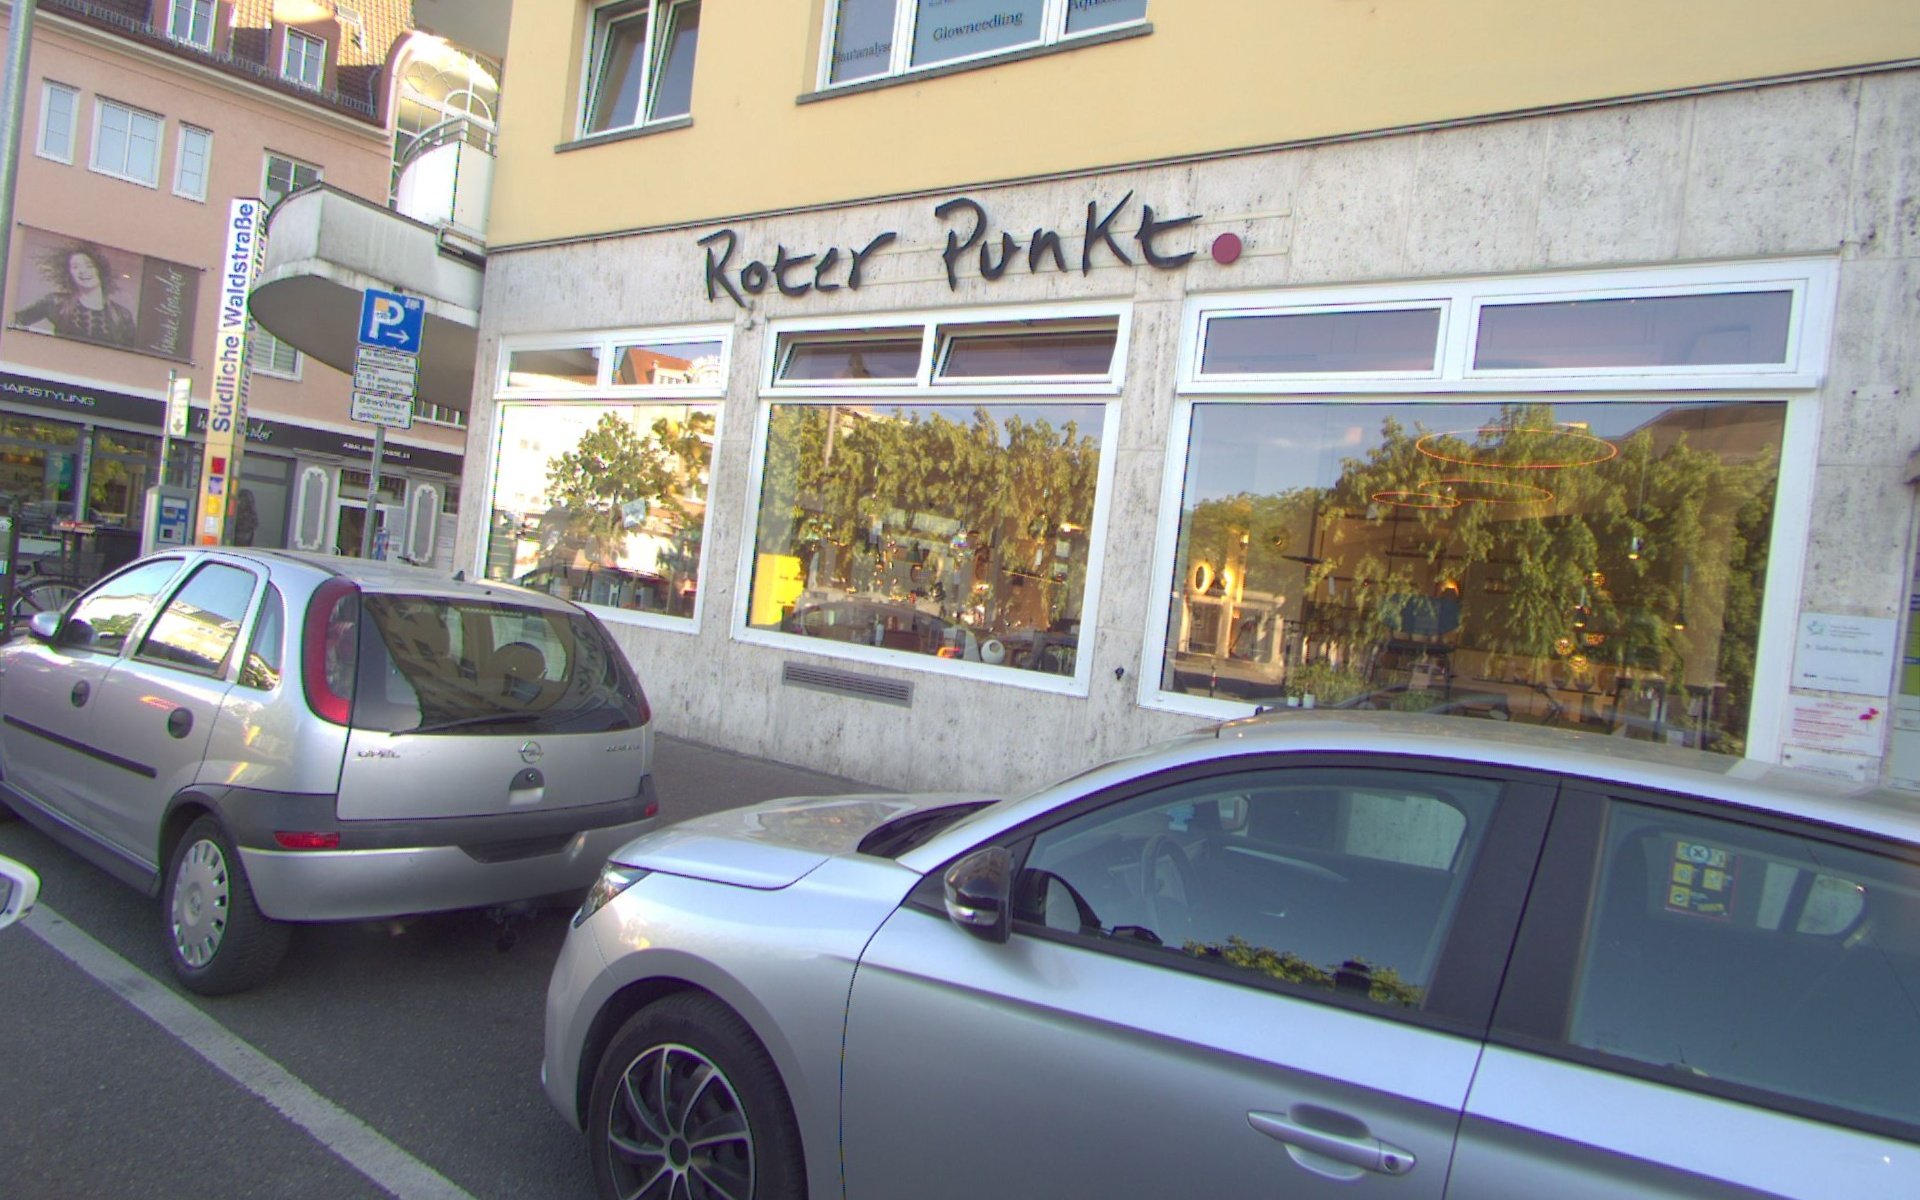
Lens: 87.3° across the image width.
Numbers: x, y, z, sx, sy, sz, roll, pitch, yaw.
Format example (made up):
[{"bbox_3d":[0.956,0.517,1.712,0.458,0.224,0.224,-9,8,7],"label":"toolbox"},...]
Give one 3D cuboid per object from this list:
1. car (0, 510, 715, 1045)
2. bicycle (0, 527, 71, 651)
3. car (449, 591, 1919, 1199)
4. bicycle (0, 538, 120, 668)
[{"bbox_3d":[-2.929,0.479,4.436,3.420,1.407,1.548,6,-1,33],"label":"car"},{"bbox_3d":[-9.088,-0.144,8.802,0.408,1.101,1.872,6,1,35],"label":"bicycle"},{"bbox_3d":[0.745,0.933,2.246,3.598,1.444,1.550,6,-2,30],"label":"car"},{"bbox_3d":[-8.125,0.002,8.211,0.348,1.051,1.871,6,1,38],"label":"bicycle"}]
